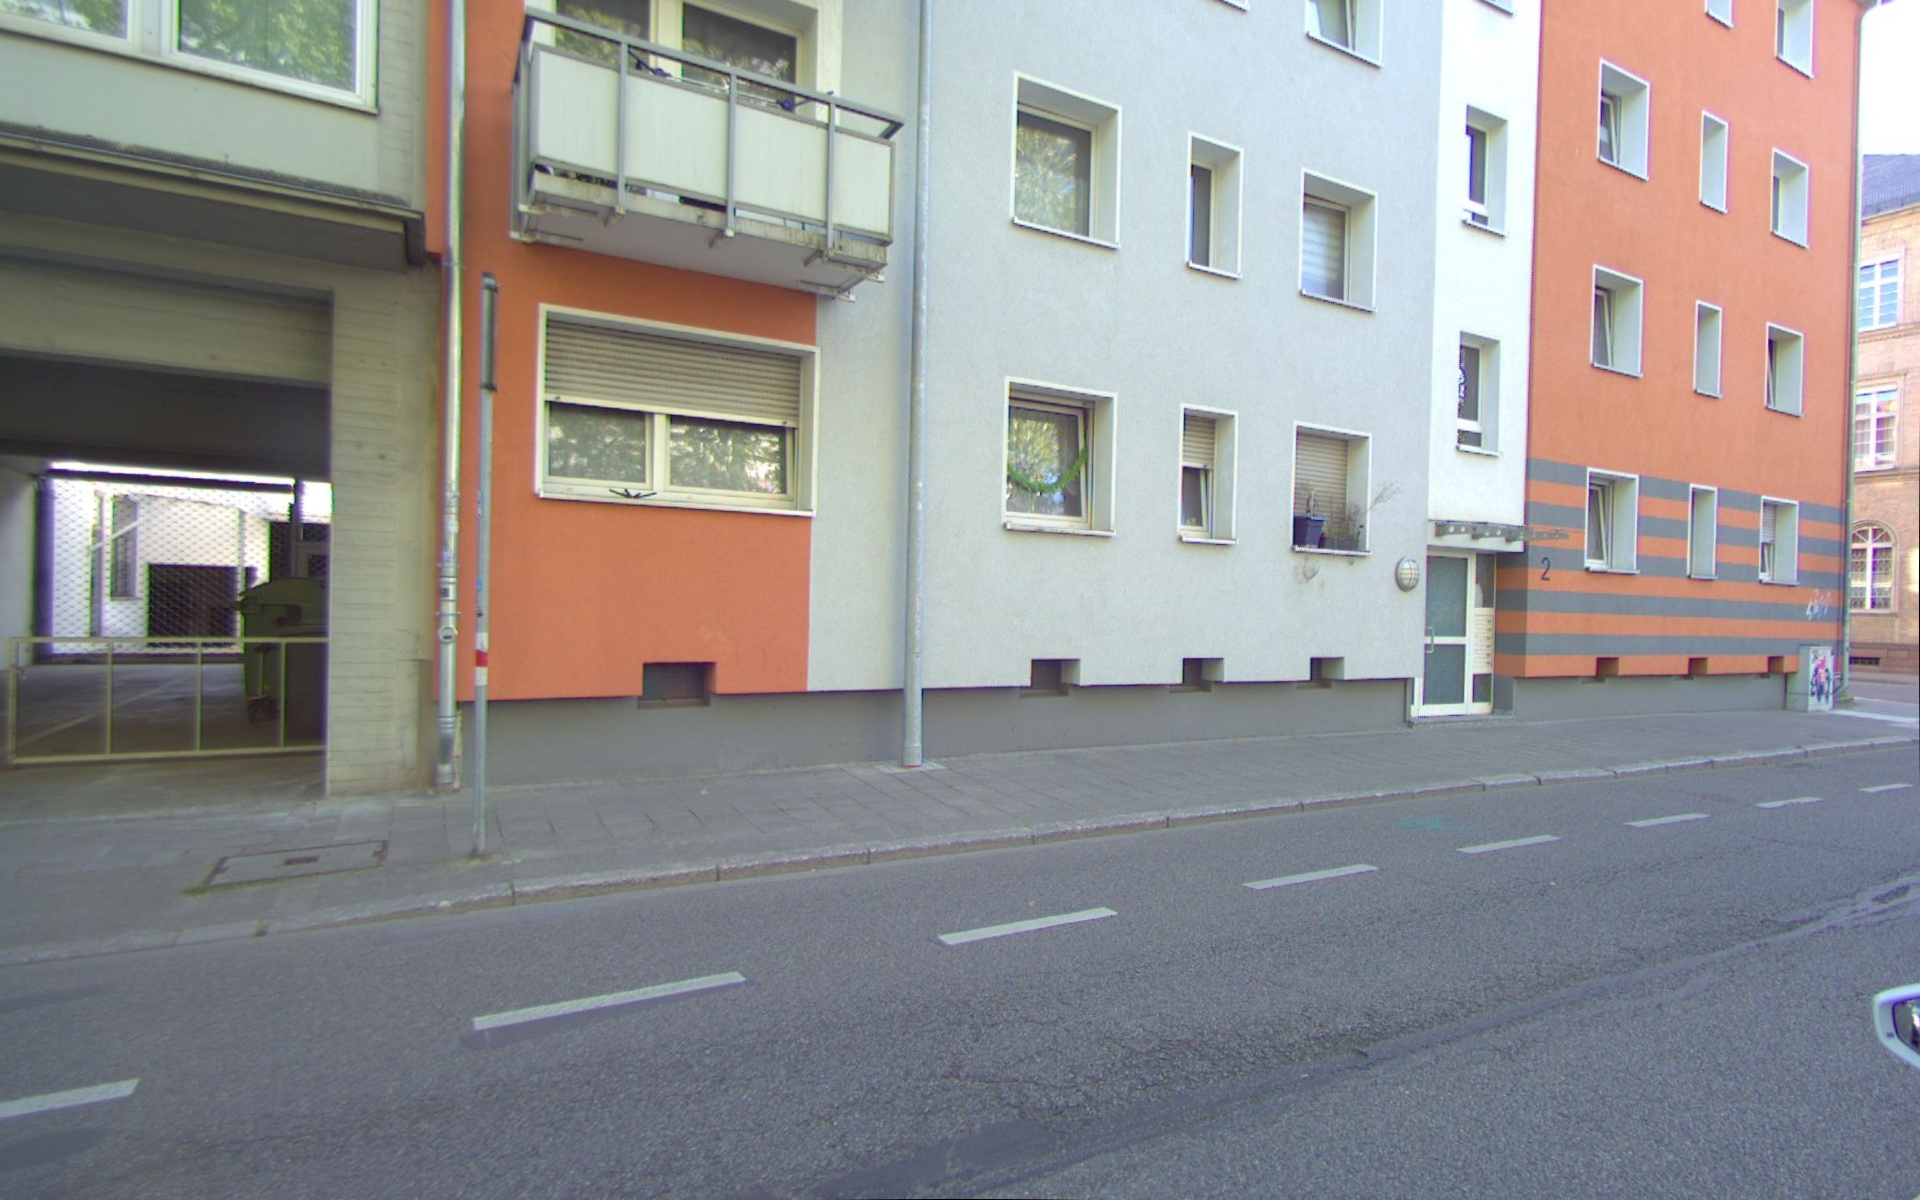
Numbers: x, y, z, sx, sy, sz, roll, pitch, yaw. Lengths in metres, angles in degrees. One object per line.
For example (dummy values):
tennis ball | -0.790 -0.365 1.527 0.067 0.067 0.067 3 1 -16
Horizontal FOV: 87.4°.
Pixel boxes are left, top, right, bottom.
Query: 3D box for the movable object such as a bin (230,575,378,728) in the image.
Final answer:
movable object such as a bin | -6.849 0.508 10.577 1.128 1.484 1.255 2 0 -27

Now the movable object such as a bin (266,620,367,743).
movable object such as a bin | -5.875 0.726 9.207 0.694 1.061 0.567 2 1 -27

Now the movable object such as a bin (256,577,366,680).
movable object such as a bin | -9.988 0.425 15.519 1.264 1.506 1.155 2 0 -27
